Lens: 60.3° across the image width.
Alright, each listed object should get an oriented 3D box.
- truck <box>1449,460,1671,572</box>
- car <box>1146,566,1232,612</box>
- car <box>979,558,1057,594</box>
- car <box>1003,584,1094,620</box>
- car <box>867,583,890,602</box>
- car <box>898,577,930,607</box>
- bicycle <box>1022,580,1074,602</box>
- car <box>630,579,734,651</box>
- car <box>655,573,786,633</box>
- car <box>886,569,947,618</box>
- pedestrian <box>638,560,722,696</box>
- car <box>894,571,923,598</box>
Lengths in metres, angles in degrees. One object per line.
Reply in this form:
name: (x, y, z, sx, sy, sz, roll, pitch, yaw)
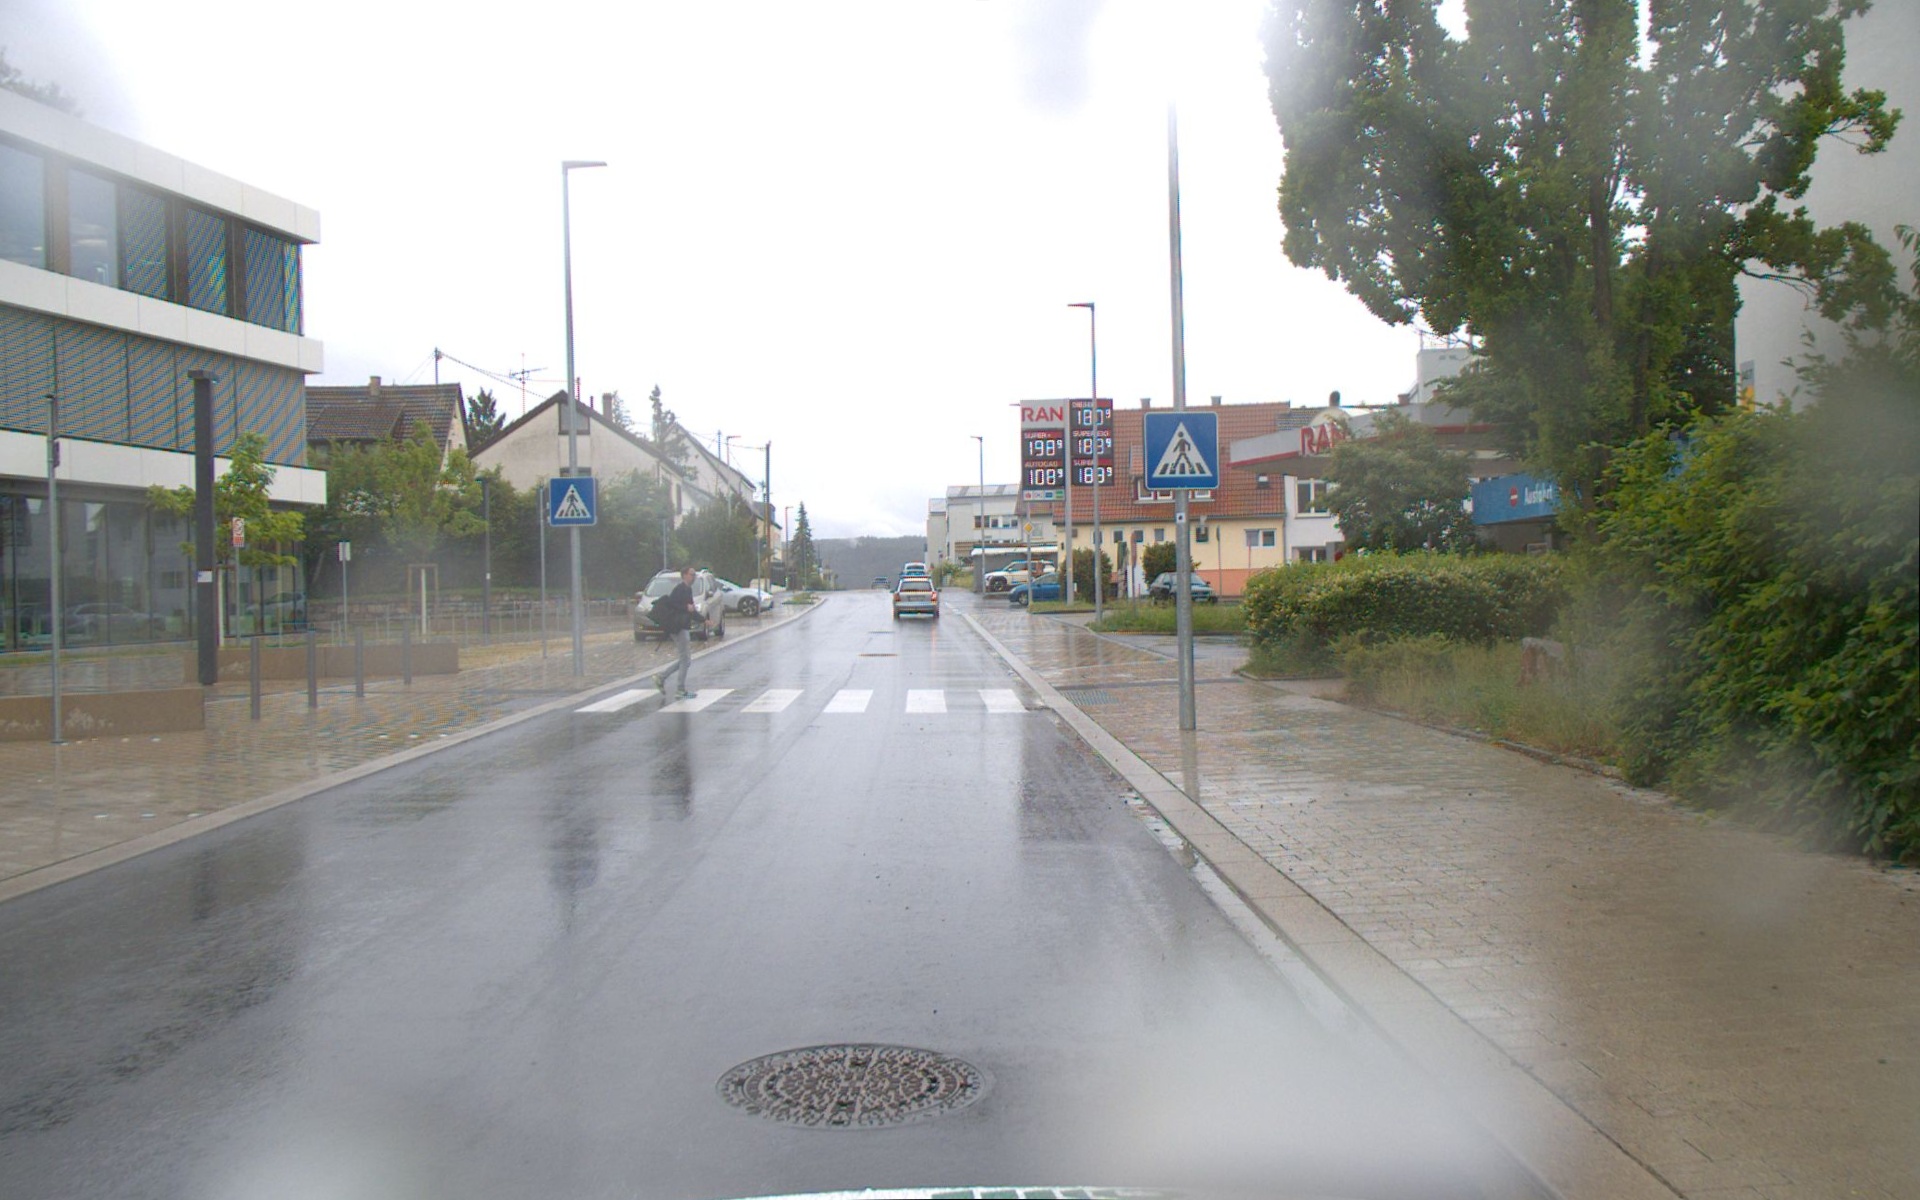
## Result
truck: (22.213, -3.039, 61.211, 7.598, 3.504, 2.667, 3, -2, -17)
car: (8.723, -0.409, 63.271, 1.959, 1.579, 3.987, 3, -1, -13)
car: (3.174, -1.324, 91.001, 4.032, 1.736, 1.787, 3, -2, -5)
car: (4.172, 0.098, 77.812, 3.903, 1.519, 1.859, 2, -2, 16)
car: (-8.275, -0.764, 168.078, 2.110, 1.736, 3.998, 3, -1, -1)
car: (-2.956, -0.491, 106.682, 1.953, 1.736, 3.998, 3, -1, -1)
bicycle: (4.473, -0.468, 84.482, 0.662, 1.085, 3.588, 3, -2, -32)
car: (-6.864, 0.320, 41.224, 1.953, 1.657, 4.152, -1, 1, -1)
car: (-9.174, 0.137, 63.638, 4.656, 2.049, 2.000, 3, -2, 0)
car: (-1.551, -0.196, 60.352, 1.908, 1.583, 4.000, 2, -1, 2)
pedestrian: (-3.682, 0.357, 21.818, 0.993, 1.754, 0.772, 0, 0, -4)
car: (-3.696, -1.075, 119.557, 1.953, 1.736, 3.998, 3, -1, -1)
